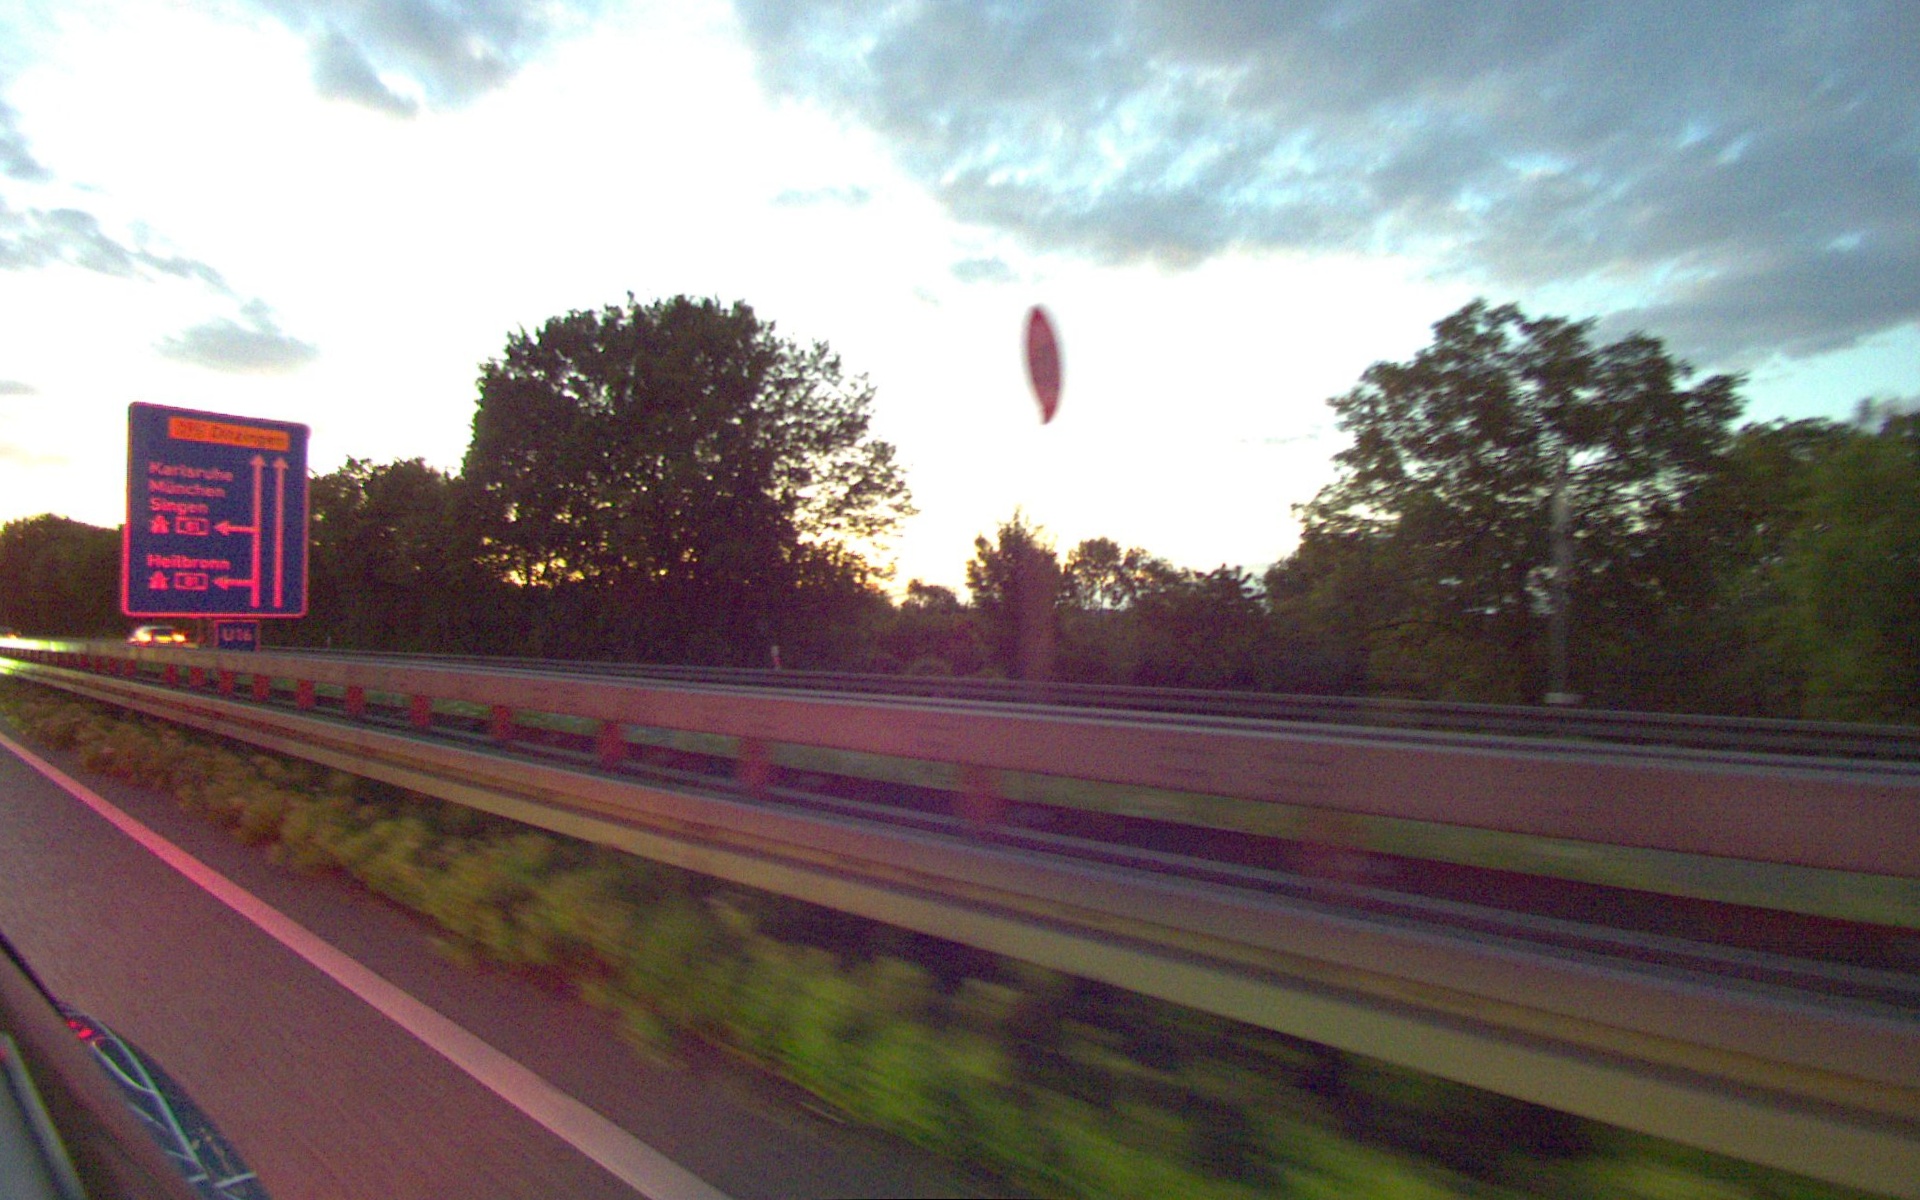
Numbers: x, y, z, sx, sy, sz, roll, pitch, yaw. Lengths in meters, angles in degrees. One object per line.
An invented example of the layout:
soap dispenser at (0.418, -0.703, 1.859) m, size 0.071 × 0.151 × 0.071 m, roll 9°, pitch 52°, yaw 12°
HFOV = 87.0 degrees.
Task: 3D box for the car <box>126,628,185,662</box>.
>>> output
car at (-42.655, 2.351, 53.630) m, size 4.501 × 1.684 × 1.775 m, roll -1°, pitch -1°, yaw 43°

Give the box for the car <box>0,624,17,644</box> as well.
car at (-71.105, 2.525, 74.508) m, size 4.497 × 1.443 × 1.901 m, roll -1°, pitch -3°, yaw 40°
